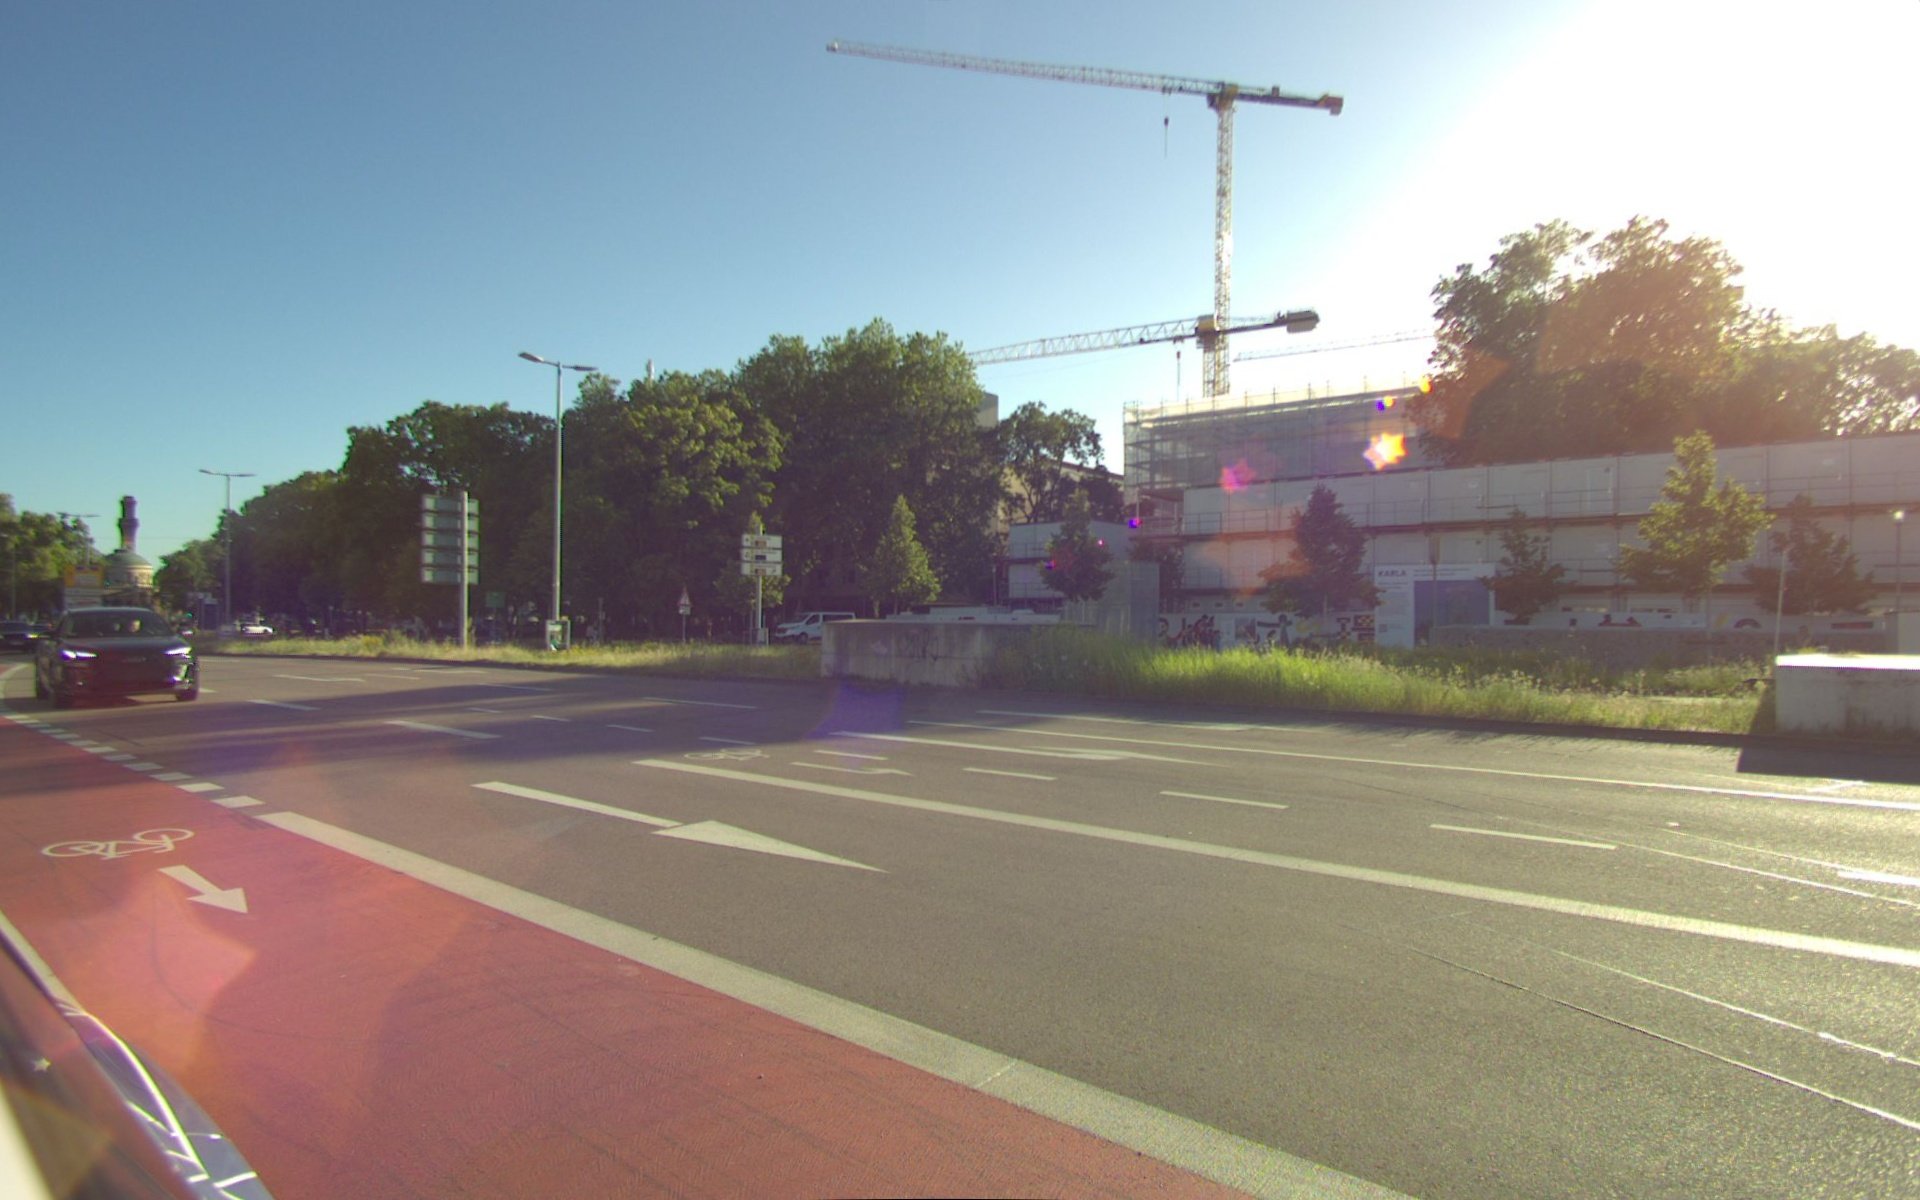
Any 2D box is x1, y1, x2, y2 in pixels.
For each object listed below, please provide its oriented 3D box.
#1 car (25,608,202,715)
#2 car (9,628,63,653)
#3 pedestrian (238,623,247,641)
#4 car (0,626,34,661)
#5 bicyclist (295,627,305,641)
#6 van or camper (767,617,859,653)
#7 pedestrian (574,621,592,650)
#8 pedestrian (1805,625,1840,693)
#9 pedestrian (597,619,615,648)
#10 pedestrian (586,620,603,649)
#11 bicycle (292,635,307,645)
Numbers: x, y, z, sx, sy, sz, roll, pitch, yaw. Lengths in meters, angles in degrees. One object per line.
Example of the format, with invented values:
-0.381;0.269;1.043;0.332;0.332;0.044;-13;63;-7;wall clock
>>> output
-15.122;1.006;17.992;4.617;1.656;1.911;-1;-2;44;car
-57.560;2.511;63.035;4.486;1.417;1.973;-1;0;41;car
-74.647;3.280;105.257;0.733;1.862;0.561;-1;-2;40;pedestrian
-48.795;2.173;51.568;4.325;1.732;1.972;-1;-2;43;car
-59.761;3.074;91.602;0.714;1.291;0.603;-1;-2;40;bicyclist
-8.931;2.091;61.942;1.948;2.029;5.576;-1;0;42;van or camper
-22.415;2.107;60.124;0.762;1.738;0.698;-1;-2;41;pedestrian
21.534;1.455;25.278;0.626;1.665;0.930;-1;-2;41;pedestrian
-21.537;2.051;61.575;0.762;1.738;0.698;-1;-2;40;pedestrian
-22.001;2.059;60.964;0.762;1.738;0.656;-1;-2;41;pedestrian
-59.763;3.634;91.587;1.744;0.849;0.602;-1;-2;40;bicycle
